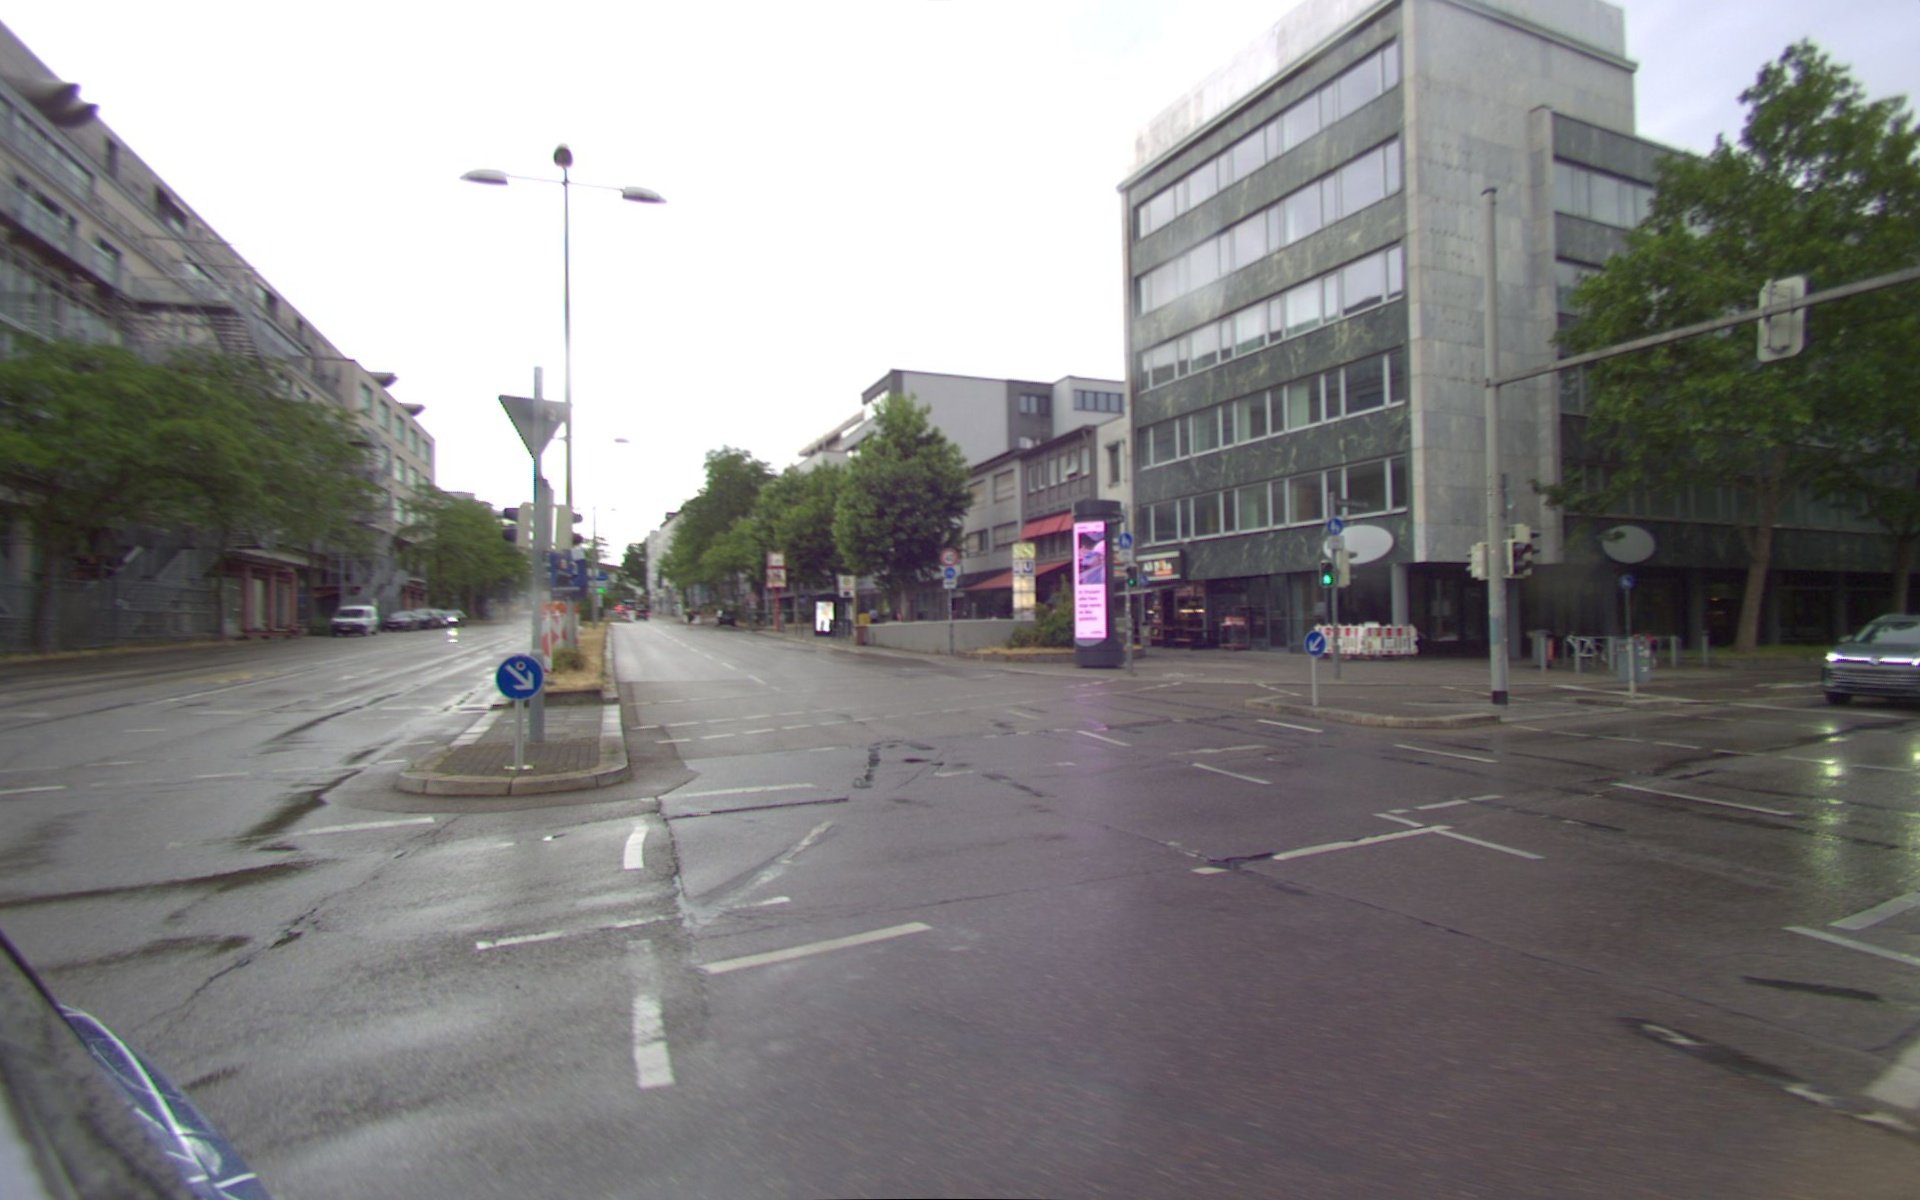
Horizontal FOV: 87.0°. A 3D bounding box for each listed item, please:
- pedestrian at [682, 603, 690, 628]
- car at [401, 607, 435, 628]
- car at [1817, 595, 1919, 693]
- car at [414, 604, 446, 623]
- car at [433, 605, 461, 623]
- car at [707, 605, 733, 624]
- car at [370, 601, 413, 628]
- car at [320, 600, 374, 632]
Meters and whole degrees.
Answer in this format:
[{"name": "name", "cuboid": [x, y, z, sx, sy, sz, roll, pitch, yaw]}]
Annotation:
[{"name": "pedestrian", "cuboid": [-22.490, 1.289, 83.034, 0.605, 2.029, 0.695, 0, -1, -9]}, {"name": "car", "cuboid": [-41.269, 1.304, 77.087, 1.728, 1.522, 4.351, 0, -1, -21]}, {"name": "car", "cuboid": [17.722, 0.772, 18.461, 4.582, 1.630, 1.768, 1, -1, -31]}, {"name": "car", "cuboid": [-43.258, 1.075, 82.671, 1.728, 1.522, 4.351, 0, -1, -21]}, {"name": "car", "cuboid": [-44.702, 1.214, 88.203, 1.728, 1.522, 4.351, 0, -1, -21]}, {"name": "car", "cuboid": [-23.266, 1.405, 97.909, 1.965, 1.763, 4.013, 0, -1, -21]}, {"name": "car", "cuboid": [-39.554, 0.994, 70.531, 1.965, 1.807, 4.351, 0, -1, -21]}, {"name": "car", "cuboid": [-36.093, 0.950, 59.711, 1.965, 1.807, 4.351, 0, -1, -21]}]
